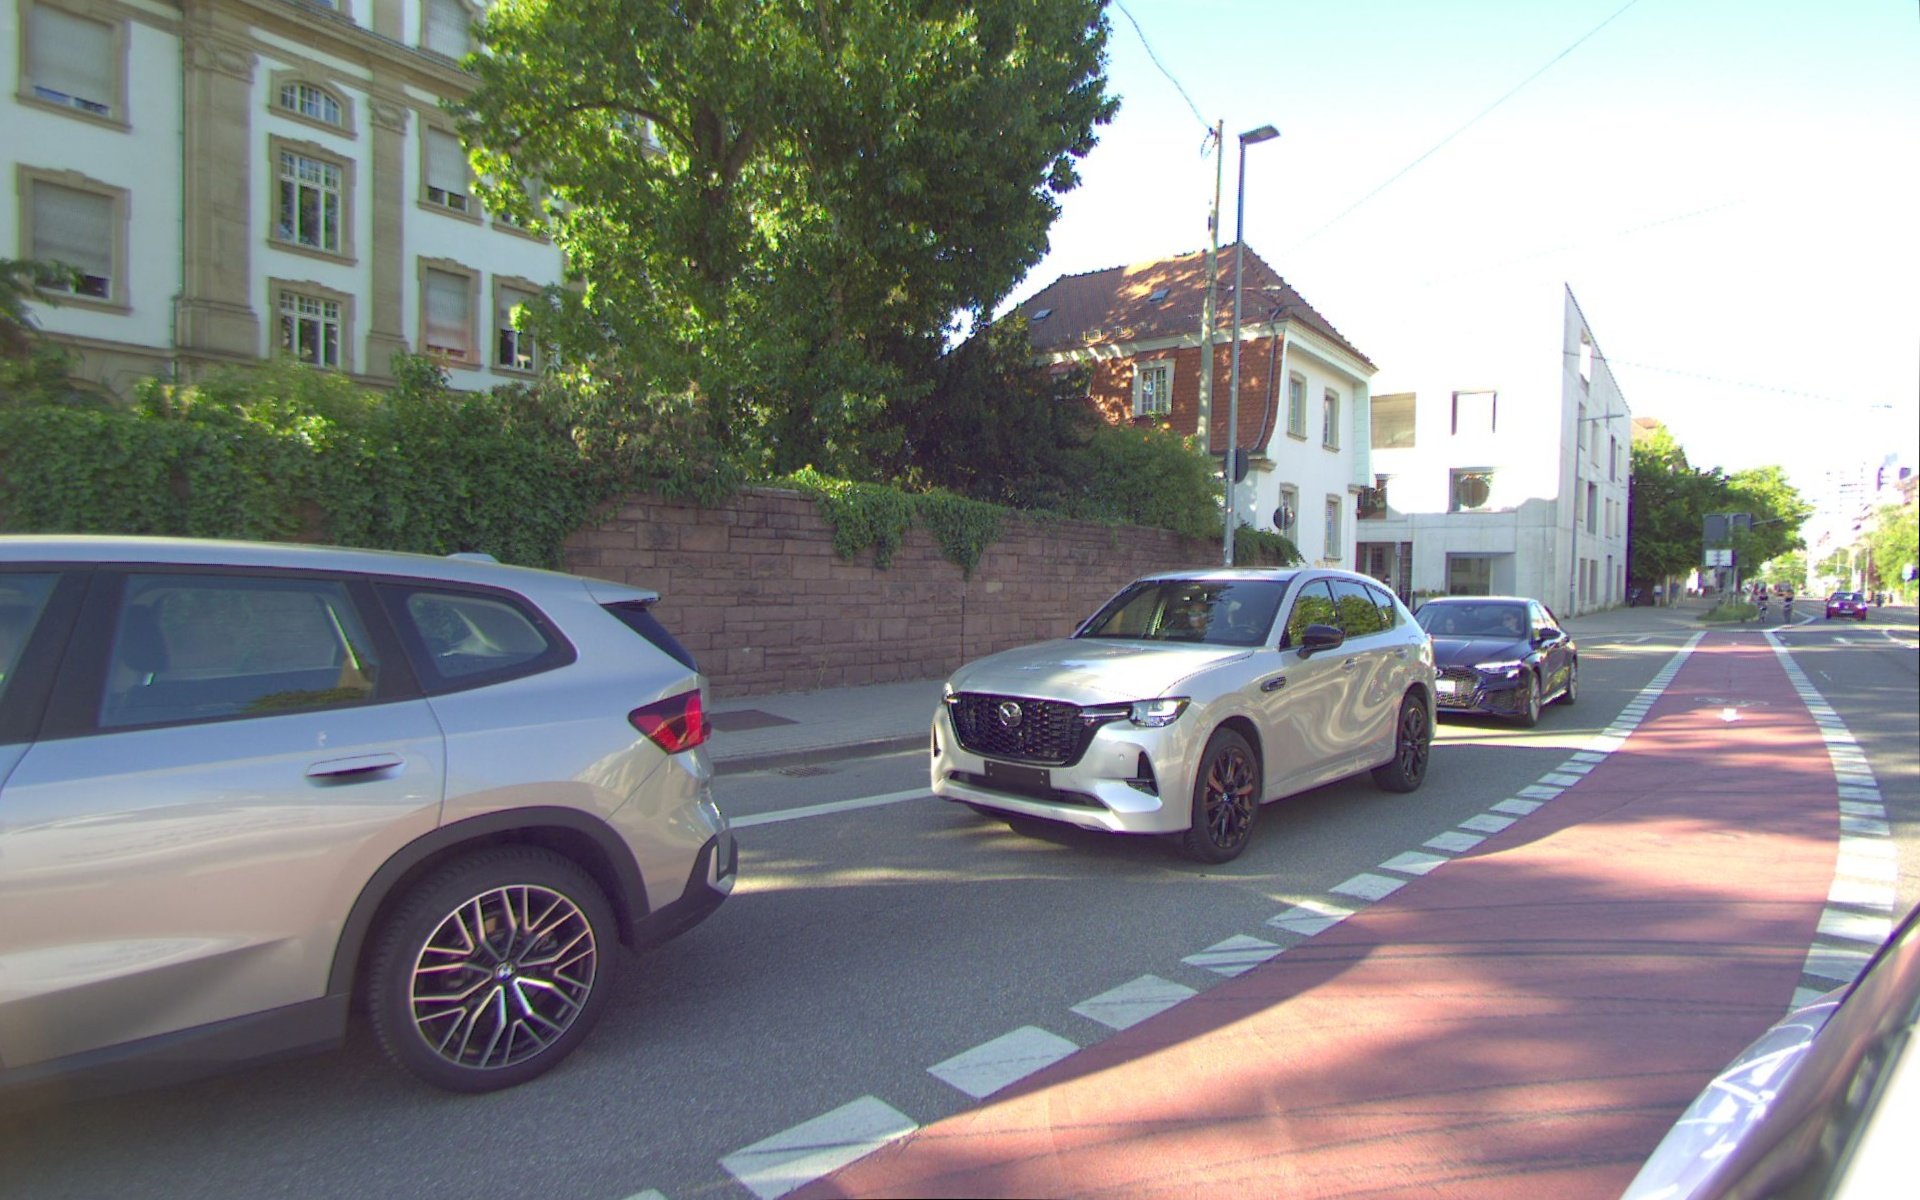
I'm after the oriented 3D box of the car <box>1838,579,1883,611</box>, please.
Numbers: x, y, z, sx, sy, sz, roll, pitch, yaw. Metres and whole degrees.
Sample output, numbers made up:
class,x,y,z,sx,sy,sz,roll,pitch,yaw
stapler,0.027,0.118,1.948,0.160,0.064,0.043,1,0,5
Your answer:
class,x,y,z,sx,sy,sz,roll,pitch,yaw
car,47.197,-0.267,52.998,1.644,1.580,3.593,0,0,44

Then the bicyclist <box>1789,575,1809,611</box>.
class,x,y,z,sx,sy,sz,roll,pitch,yaw
bicyclist,39.940,-0.337,48.182,0.673,1.667,1.014,2,2,40

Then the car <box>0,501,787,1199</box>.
class,x,y,z,sx,sy,sz,roll,pitch,yaw
car,-2.828,0.577,2.957,4.248,1.614,1.792,0,0,-36

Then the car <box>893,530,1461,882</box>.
class,x,y,z,sx,sy,sz,roll,pitch,yaw
car,1.813,0.491,7.228,1.940,1.713,4.460,0,1,44

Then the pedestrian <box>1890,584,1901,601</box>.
class,x,y,z,sx,sy,sz,roll,pitch,yaw
pedestrian,92.522,-0.743,100.093,0.803,1.668,0.675,0,1,-41

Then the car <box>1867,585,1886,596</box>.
class,x,y,z,sx,sy,sz,roll,pitch,yaw
car,131.918,-1.423,145.648,1.640,1.580,3.602,0,0,36

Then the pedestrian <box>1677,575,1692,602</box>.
class,x,y,z,sx,sy,sz,roll,pitch,yaw
pedestrian,45.281,-0.717,63.262,0.673,1.668,0.806,1,1,40

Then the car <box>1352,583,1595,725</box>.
class,x,y,z,sx,sy,sz,roll,pitch,yaw
car,6.416,0.526,12.438,1.782,1.451,3.941,0,1,41

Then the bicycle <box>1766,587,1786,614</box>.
class,x,y,z,sx,sy,sz,roll,pitch,yaw
bicycle,39.854,-0.003,49.412,0.673,1.265,2.421,2,2,40

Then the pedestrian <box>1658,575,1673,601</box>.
class,x,y,z,sx,sy,sz,roll,pitch,yaw
pedestrian,44.509,-0.756,63.835,0.673,1.668,0.806,1,1,40

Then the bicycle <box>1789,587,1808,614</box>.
class,x,y,z,sx,sy,sz,roll,pitch,yaw
bicycle,39.892,0.011,48.140,0.673,1.265,2.421,2,2,40

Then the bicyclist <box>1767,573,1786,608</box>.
class,x,y,z,sx,sy,sz,roll,pitch,yaw
bicyclist,39.823,-0.449,49.363,0.673,1.667,1.014,2,2,40

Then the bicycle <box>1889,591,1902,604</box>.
class,x,y,z,sx,sy,sz,roll,pitch,yaw
bicycle,92.554,-0.294,100.133,2.414,1.266,0.675,0,1,-42
